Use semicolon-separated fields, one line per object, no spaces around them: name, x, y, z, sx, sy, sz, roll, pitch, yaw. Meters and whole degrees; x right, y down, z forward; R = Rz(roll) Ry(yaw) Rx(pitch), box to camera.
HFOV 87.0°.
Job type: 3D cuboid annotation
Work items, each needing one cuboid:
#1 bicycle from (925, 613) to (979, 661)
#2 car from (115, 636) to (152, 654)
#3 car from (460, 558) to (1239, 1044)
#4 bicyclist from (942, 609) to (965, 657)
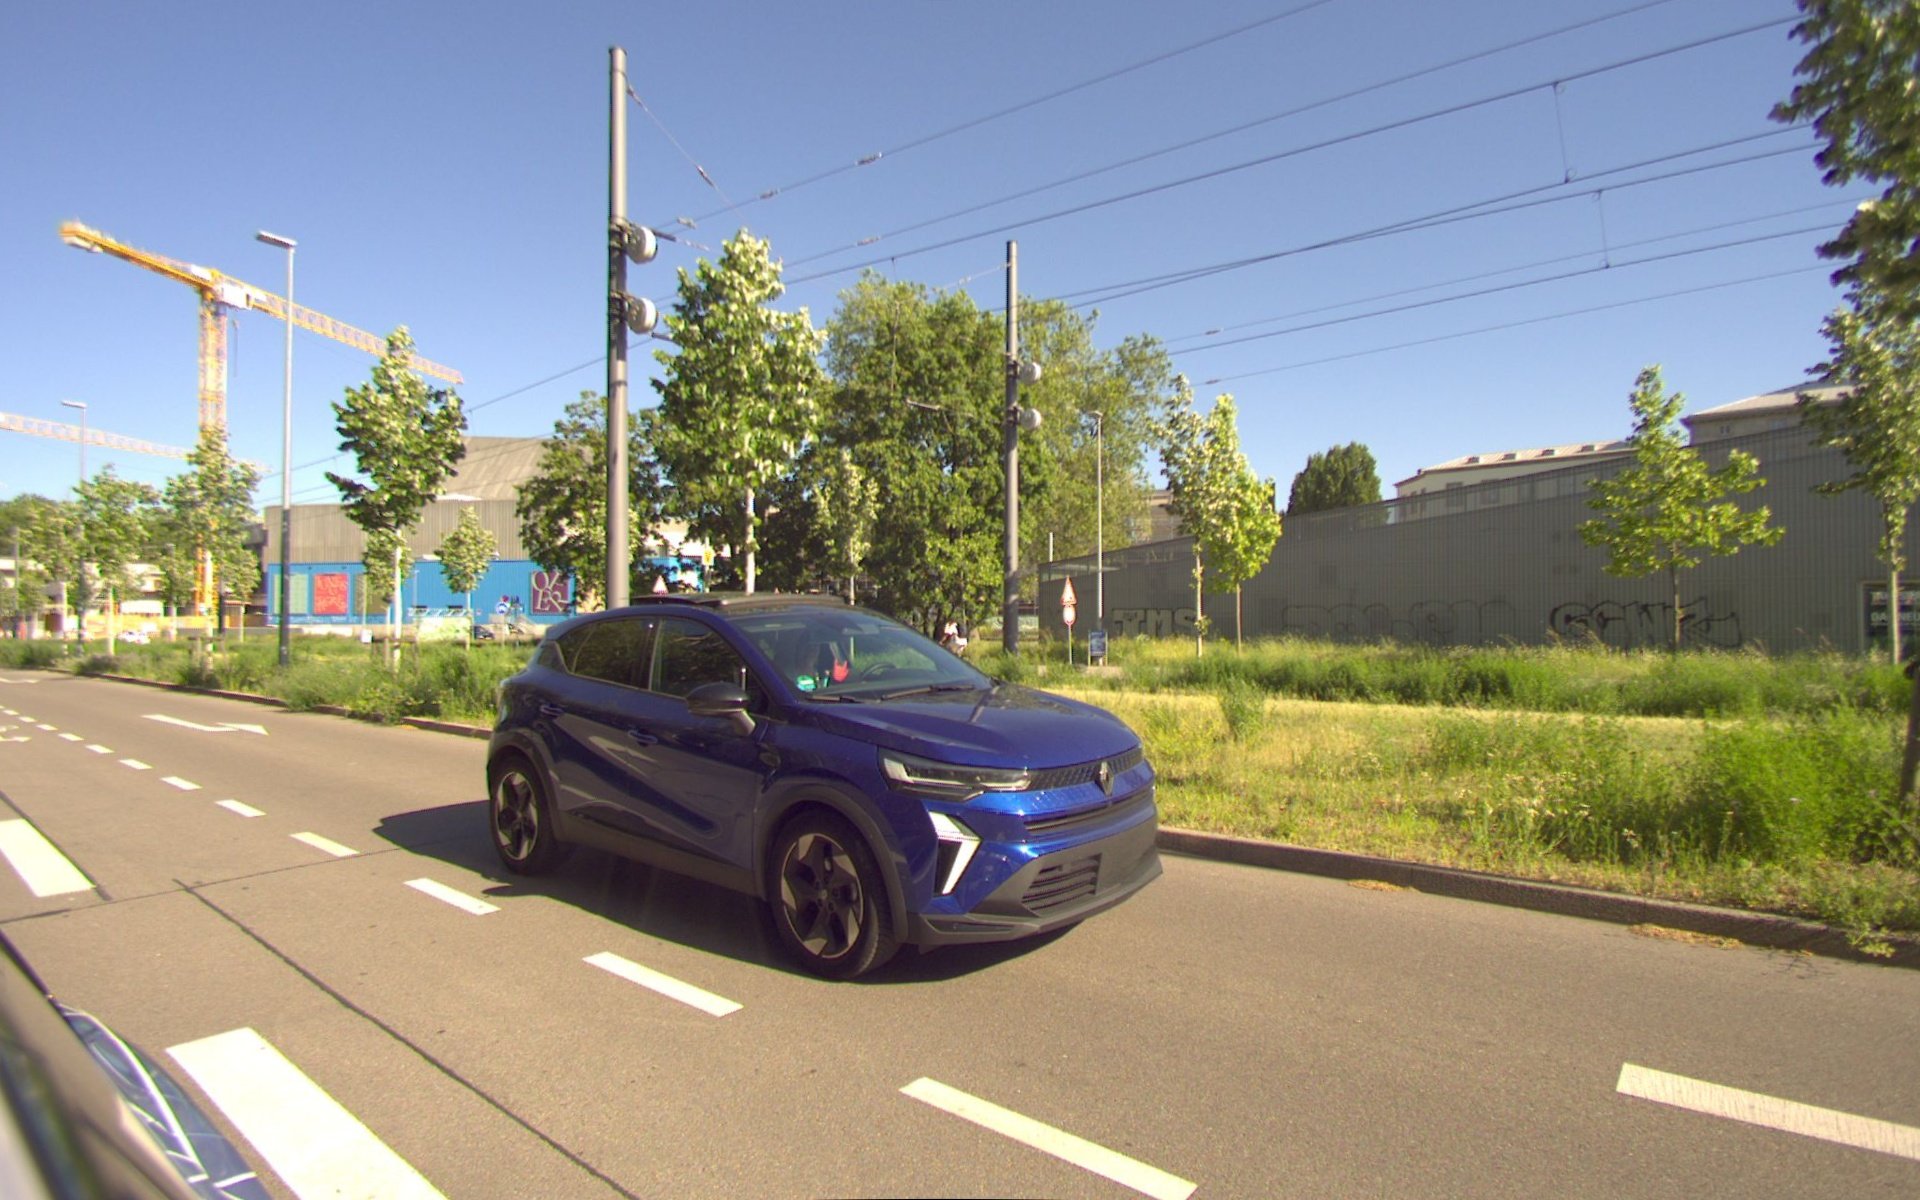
bicycle;-0.253;1.149;31.383;1.912;1.466;0.356;-2;-2;41
car;-67.693;3.688;82.852;3.829;1.409;1.616;-2;-2;39
car;-0.845;0.721;5.413;4.148;1.635;1.727;-2;-1;40
bicyclist;-0.203;1.006;31.348;0.539;1.465;0.390;-2;0;40
